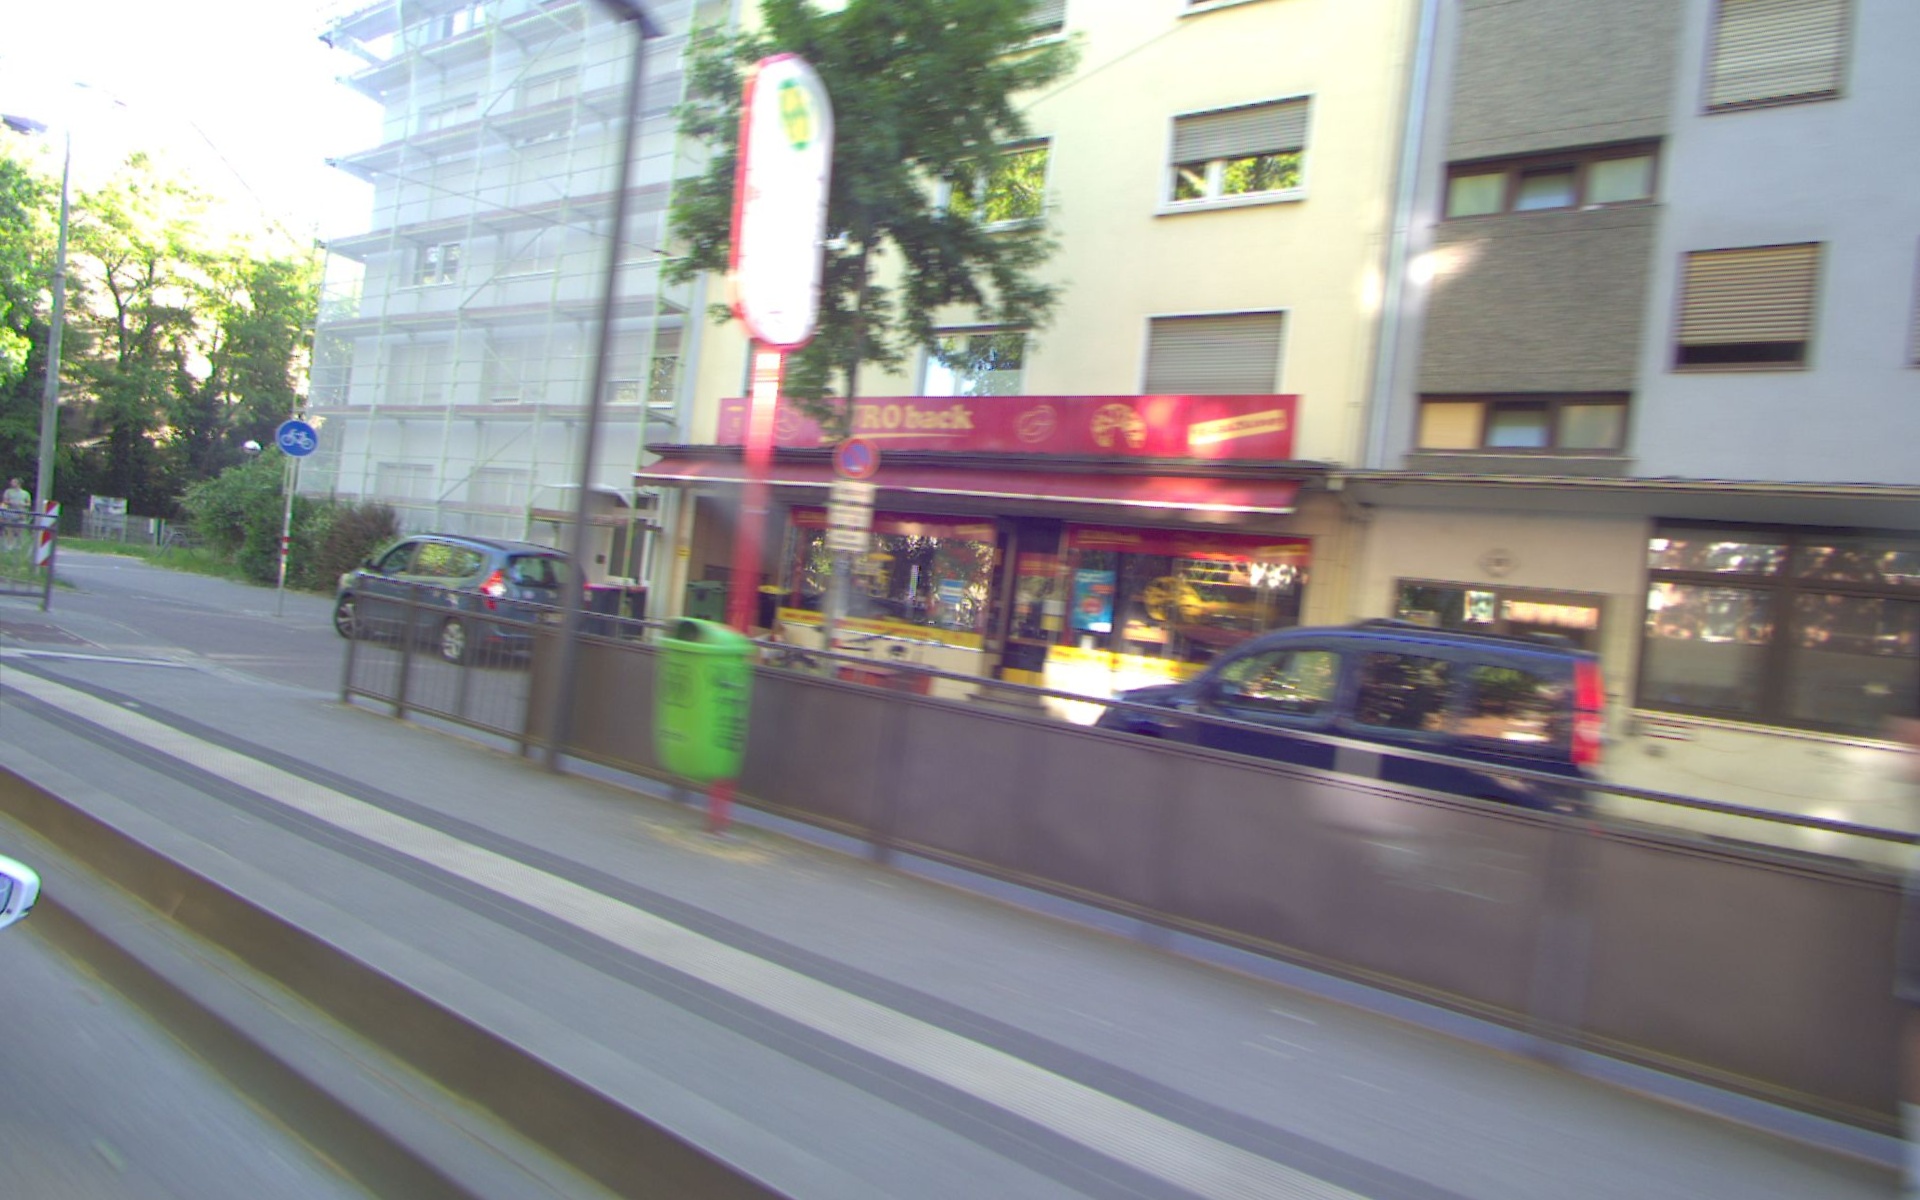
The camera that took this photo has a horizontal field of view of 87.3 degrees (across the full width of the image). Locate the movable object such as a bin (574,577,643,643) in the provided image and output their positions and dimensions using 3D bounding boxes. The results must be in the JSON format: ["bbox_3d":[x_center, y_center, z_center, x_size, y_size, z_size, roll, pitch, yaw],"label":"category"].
[{"bbox_3d":[-6.524,0.196,18.694,0.685,1.125,0.882,7,1,29],"label":"movable object such as a bin"}]

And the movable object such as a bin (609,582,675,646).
[{"bbox_3d":[-6.105,0.276,19.315,0.685,1.125,0.882,7,1,29],"label":"movable object such as a bin"}]

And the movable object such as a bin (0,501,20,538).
[{"bbox_3d":[-31.832,-2.712,33.259,0.939,1.139,0.667,7,-1,24],"label":"movable object such as a bin"}]

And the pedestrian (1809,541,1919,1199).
[{"bbox_3d":[2.856,0.739,2.691,0.570,1.776,0.690,7,-1,25],"label":"pedestrian"}]

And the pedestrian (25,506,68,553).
[{"bbox_3d":[-24.251,-1.877,26.720,0.650,1.131,0.674,7,-1,41],"label":"pedestrian"}]

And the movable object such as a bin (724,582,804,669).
[{"bbox_3d":[-3.304,0.437,16.993,0.811,1.367,0.924,7,1,29],"label":"movable object such as a bin"}]

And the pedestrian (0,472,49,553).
[{"bbox_3d":[-24.361,-2.259,25.820,0.979,1.907,0.871,7,-1,14],"label":"pedestrian"}]

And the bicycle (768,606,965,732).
[{"bbox_3d":[-1.101,0.803,12.095,2.169,1.225,0.685,6,1,3],"label":"bicycle"}]

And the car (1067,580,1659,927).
[{"bbox_3d":[3.278,1.012,8.549,4.126,1.921,1.993,7,3,34],"label":"car"}]

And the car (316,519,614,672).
[{"bbox_3d":[-7.174,-0.103,14.431,4.369,1.642,1.763,7,1,33],"label":"car"}]

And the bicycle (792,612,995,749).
[{"bbox_3d":[-0.659,0.839,10.920,1.012,1.225,2.206,7,1,31],"label":"bicycle"}]

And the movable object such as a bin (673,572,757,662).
[{"bbox_3d":[-4.173,0.306,17.170,0.811,1.415,1.000,7,1,29],"label":"movable object such as a bin"}]

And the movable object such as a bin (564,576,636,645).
[{"bbox_3d":[-6.388,0.195,17.888,0.685,1.125,0.882,7,1,29],"label":"movable object such as a bin"}]

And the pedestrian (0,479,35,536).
[{"bbox_3d":[-31.016,-3.018,33.022,0.544,1.746,0.620,7,-1,17],"label":"pedestrian"}]
